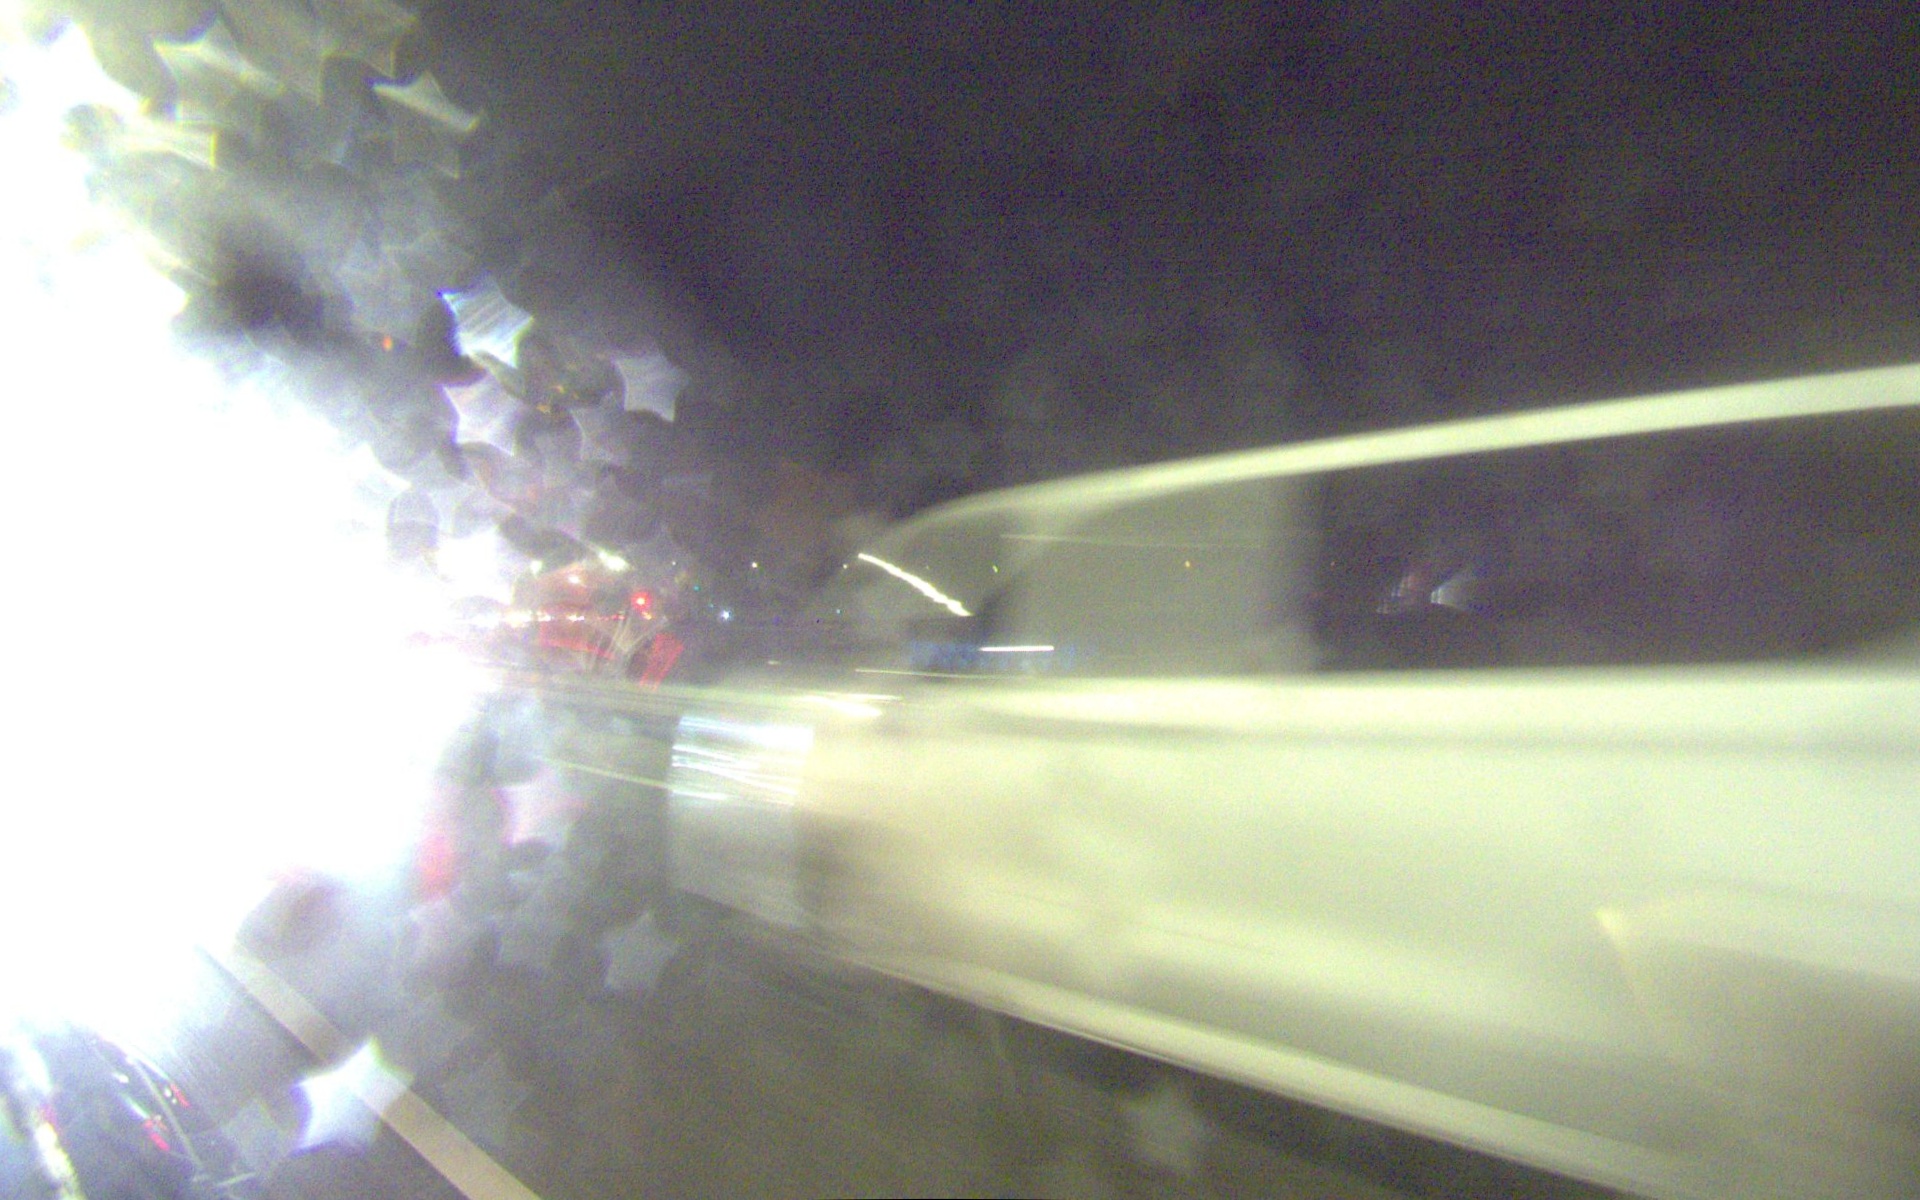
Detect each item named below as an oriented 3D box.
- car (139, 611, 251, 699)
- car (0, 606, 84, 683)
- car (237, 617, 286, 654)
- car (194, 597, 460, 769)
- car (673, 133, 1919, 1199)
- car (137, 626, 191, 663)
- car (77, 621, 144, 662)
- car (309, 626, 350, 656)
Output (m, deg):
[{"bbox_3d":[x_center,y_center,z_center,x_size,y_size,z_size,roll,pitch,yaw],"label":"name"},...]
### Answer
[{"bbox_3d":[-16.531,1.108,21.872,1.755,1.717,4.323,1,-2,-38],"label":"car"},{"bbox_3d":[-26.384,1.228,28.705,1.967,2.029,4.009,-1,-1,-36],"label":"car"},{"bbox_3d":[-45.064,2.324,65.346,1.628,2.028,4.012,-8,-2,-24],"label":"car"},{"bbox_3d":[-7.455,0.818,11.756,3.995,1.643,1.772,-1,0,45],"label":"car"},{"bbox_3d":[1.377,0.338,3.238,5.153,2.186,2.022,-1,-1,42],"label":"car"},{"bbox_3d":[-38.822,2.138,49.419,1.284,1.540,3.056,-8,3,-25],"label":"car"},{"bbox_3d":[-33.256,1.617,39.670,1.498,1.537,3.116,0,-2,-30],"label":"car"},{"bbox_3d":[-49.759,3.245,79.956,1.628,2.028,4.011,-8,-1,-17],"label":"car"}]
